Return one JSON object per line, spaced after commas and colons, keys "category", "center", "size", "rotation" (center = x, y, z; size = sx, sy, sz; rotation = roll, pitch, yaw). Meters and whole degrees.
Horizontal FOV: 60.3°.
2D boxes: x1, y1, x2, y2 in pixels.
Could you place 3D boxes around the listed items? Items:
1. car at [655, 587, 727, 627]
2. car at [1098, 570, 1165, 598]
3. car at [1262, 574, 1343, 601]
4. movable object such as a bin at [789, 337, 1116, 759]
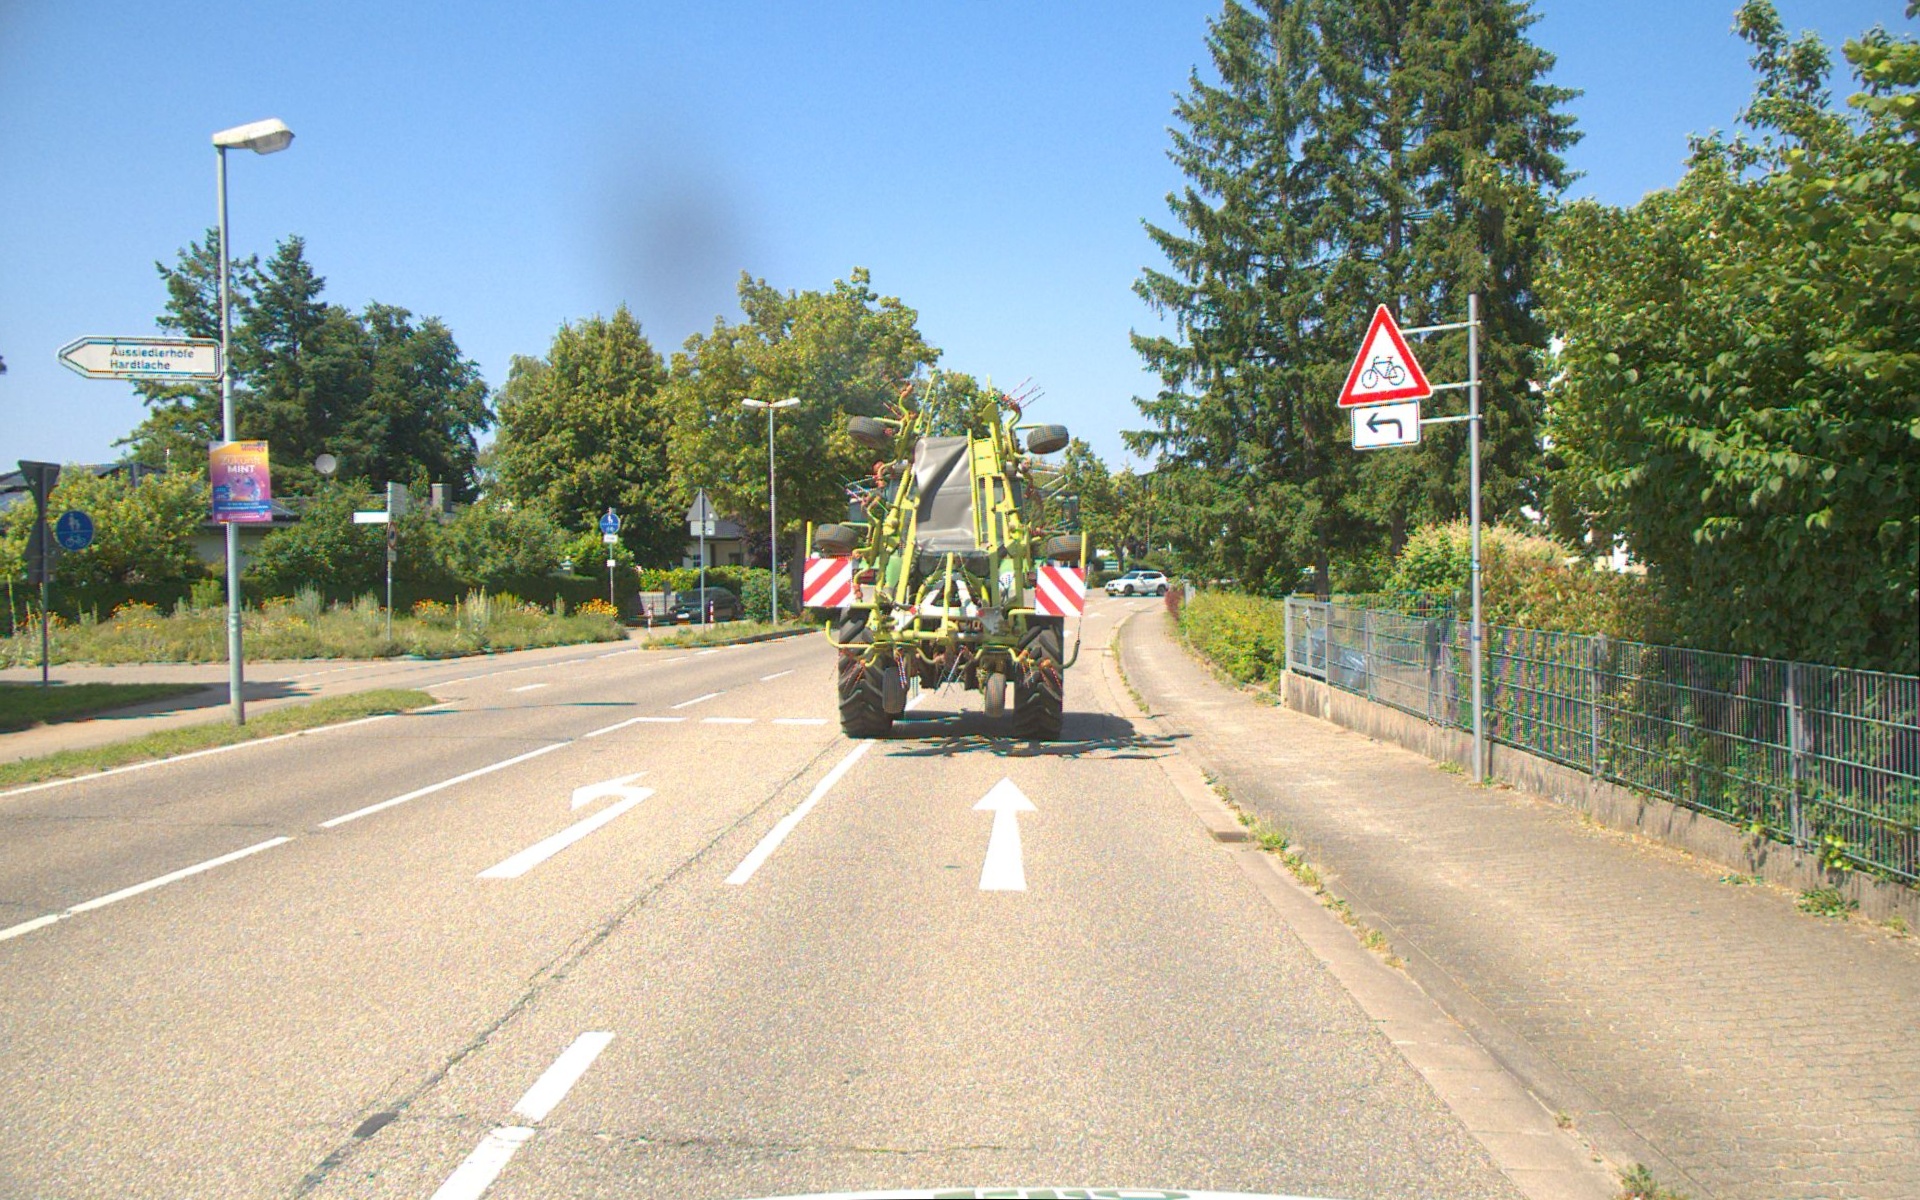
{"category": "car", "center": [-10.765, 0.271, 66.466], "size": [1.652, 1.556, 4.004], "rotation": [0, 1, 9]}
{"category": "car", "center": [10.700, -1.004, 103.185], "size": [3.950, 1.745, 1.842], "rotation": [-1, 0, -33]}
{"category": "car", "center": [17.460, -0.639, 84.391], "size": [3.740, 1.317, 1.681], "rotation": [0, 1, -9]}
{"category": "movable object such as a bin", "center": [0.179, -0.477, 19.055], "size": [2.793, 3.603, 9.704], "rotation": [0, 0, 3]}
